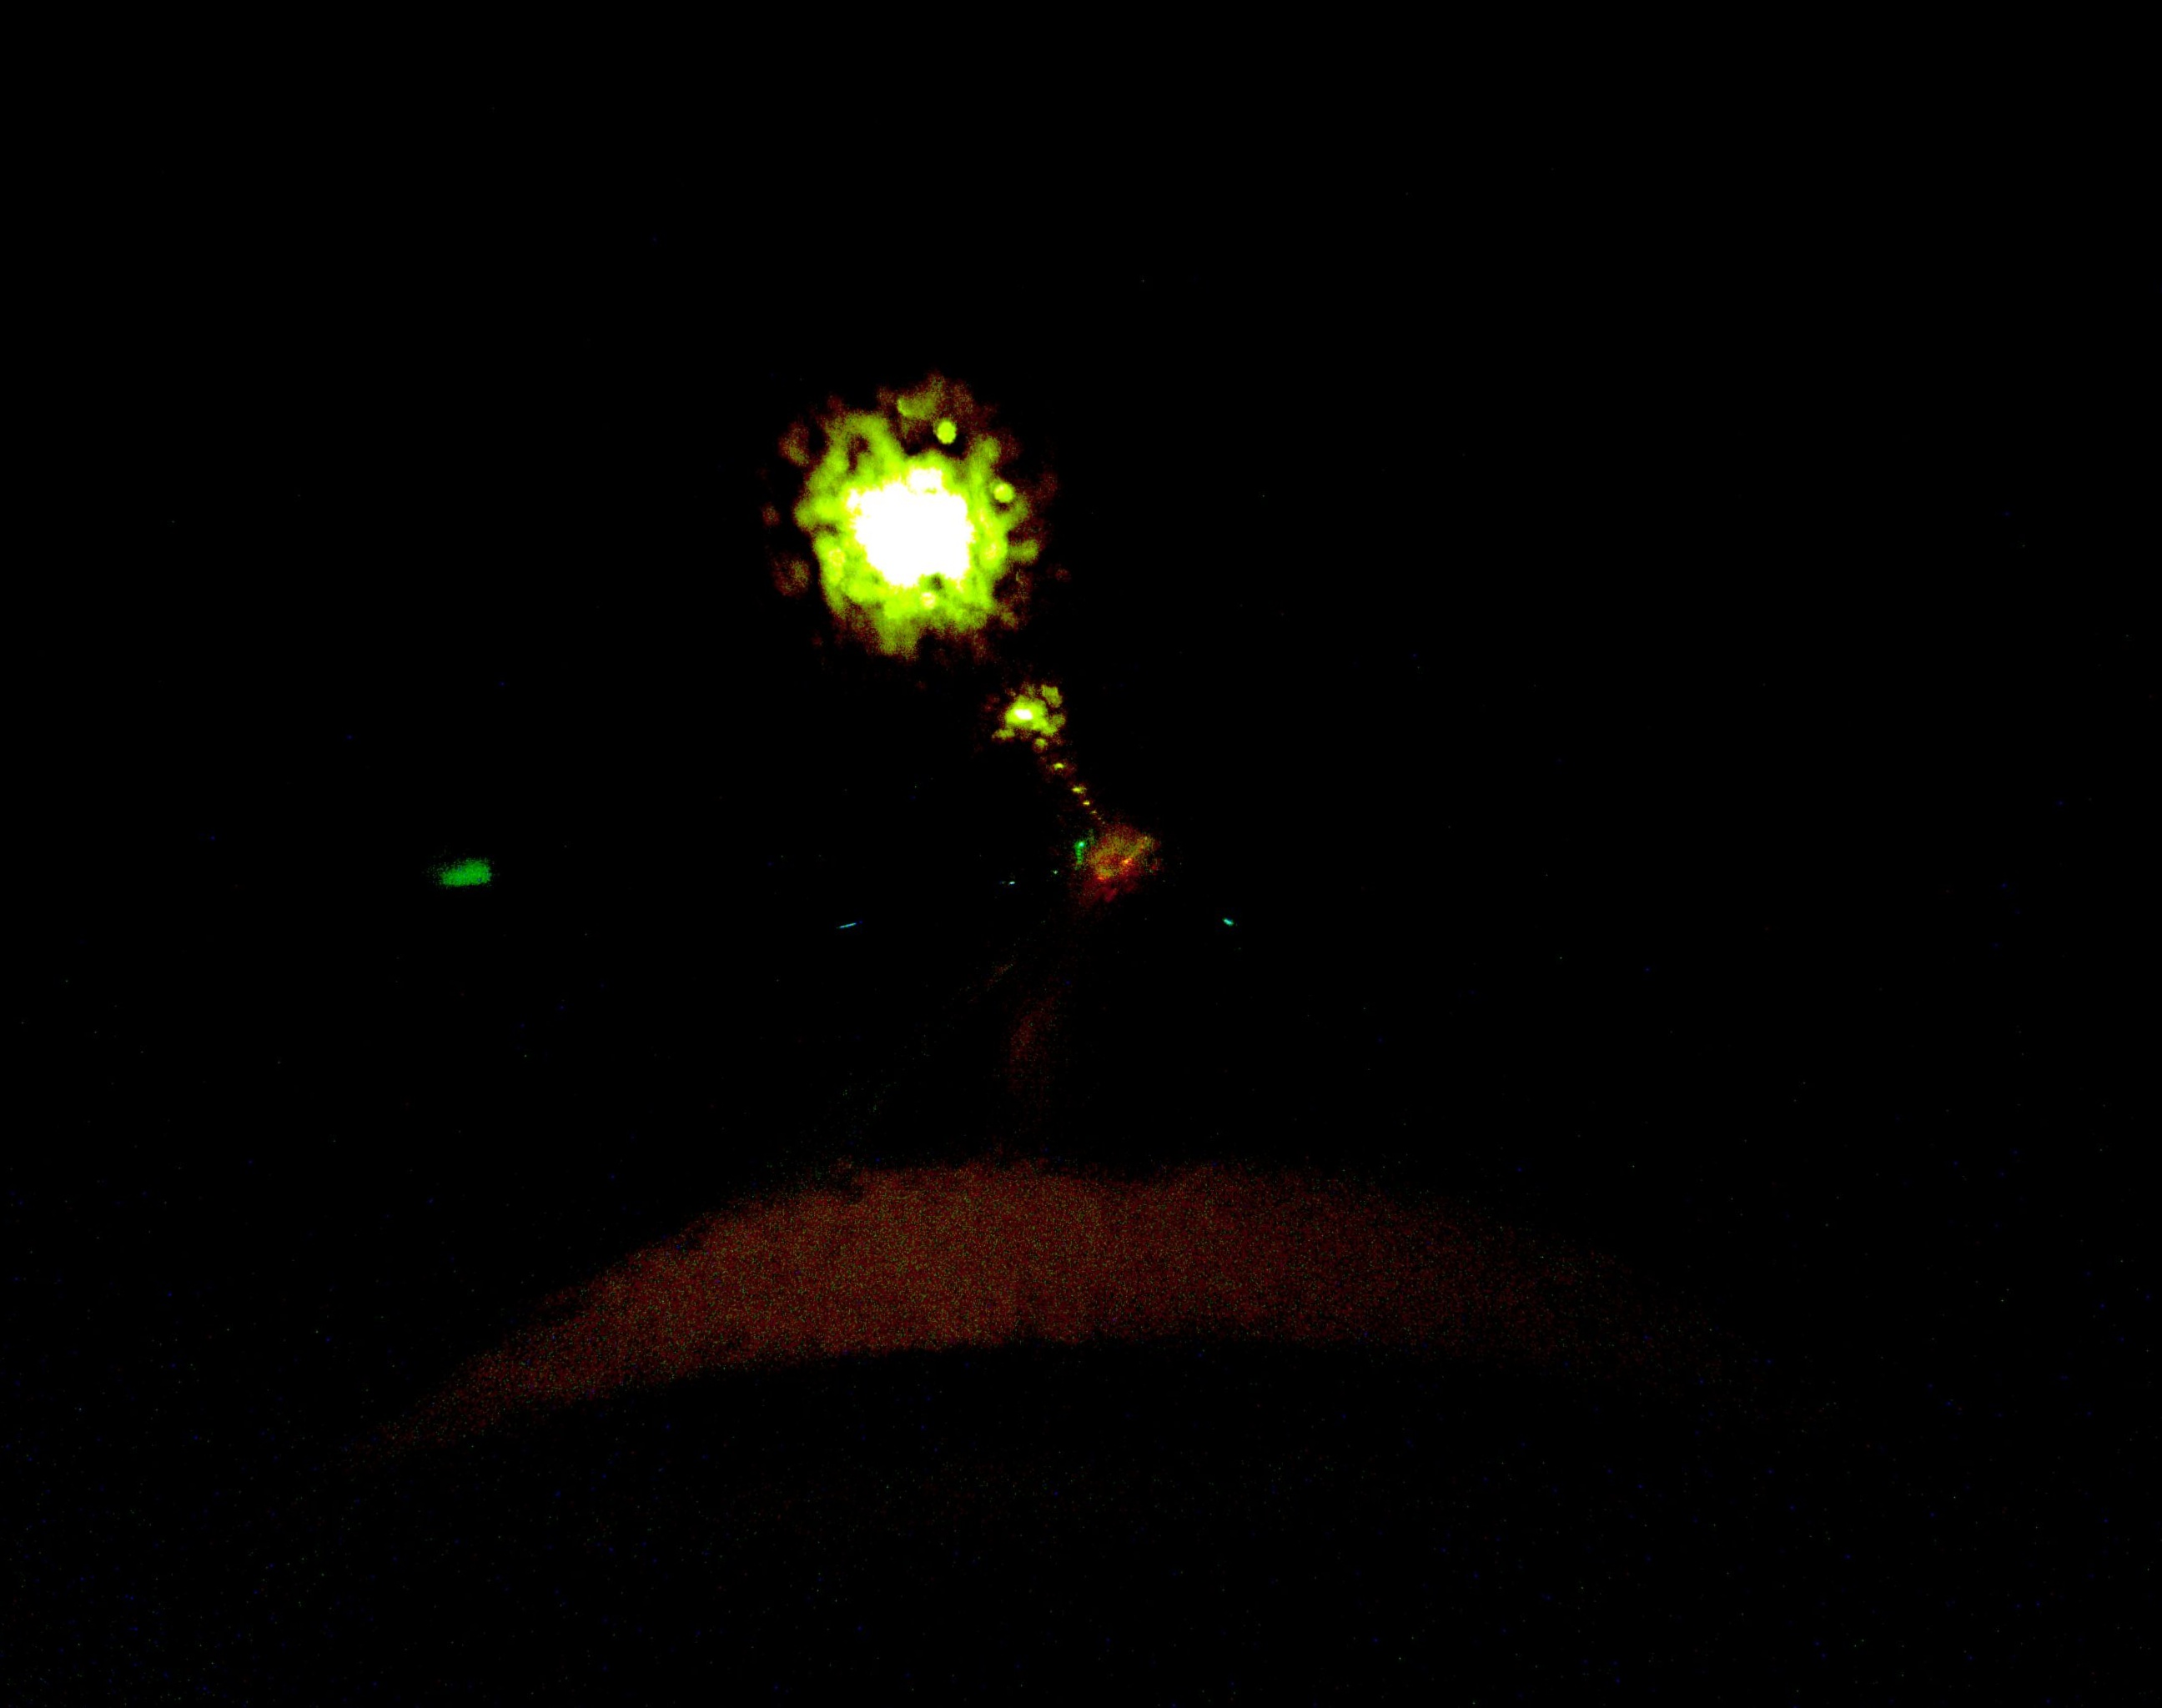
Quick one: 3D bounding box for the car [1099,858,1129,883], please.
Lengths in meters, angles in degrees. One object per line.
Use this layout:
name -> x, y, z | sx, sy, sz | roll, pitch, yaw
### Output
car -> 2.368, 1.133, 58.299 | 2.081, 1.662, 4.002 | -1, -1, 2
